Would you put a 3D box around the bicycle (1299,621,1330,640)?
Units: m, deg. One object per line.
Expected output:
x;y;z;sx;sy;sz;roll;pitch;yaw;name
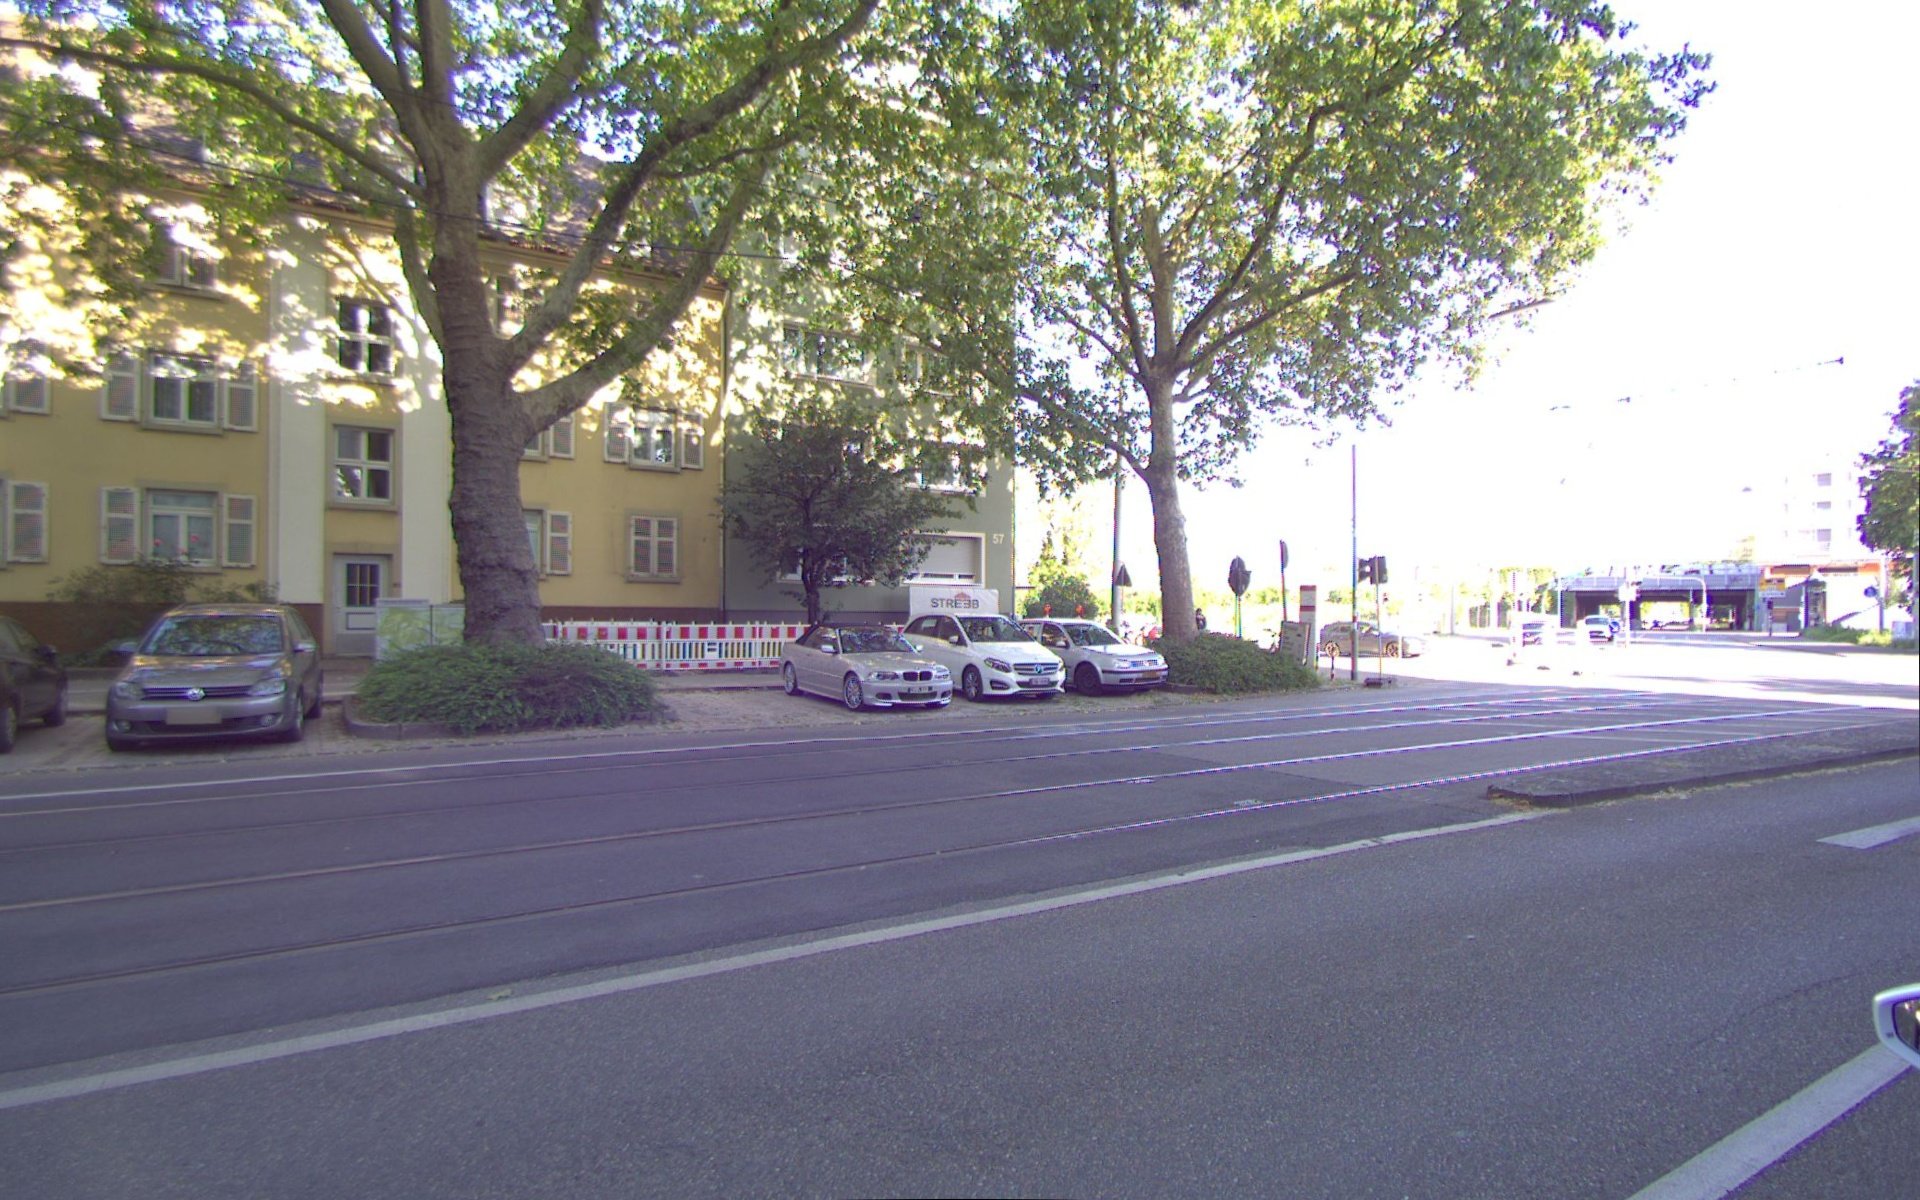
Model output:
19.649;1.698;55.715;1.545;0.995;0.528;0;0;14;bicycle

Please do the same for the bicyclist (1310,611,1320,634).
19.690;1.259;55.716;0.519;1.239;0.528;0;0;14;bicyclist

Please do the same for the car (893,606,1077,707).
0.359;0.980;19.161;1.651;1.669;3.949;1;0;-31;car

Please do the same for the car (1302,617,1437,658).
16.316;1.451;40.199;1.923;1.493;4.688;1;-1;-39;car

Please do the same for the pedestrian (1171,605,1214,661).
7.094;0.993;30.618;0.919;1.669;0.841;2;0;-30;pedestrian

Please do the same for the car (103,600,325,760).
-8.990;0.829;12.423;1.652;1.602;3.953;1;0;-29;car

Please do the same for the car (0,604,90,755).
-11.456;0.829;11.391;1.652;1.518;3.778;1;0;-29;car

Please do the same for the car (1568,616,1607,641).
41.963;1.907;67.159;1.860;1.606;3.823;2;0;37;car

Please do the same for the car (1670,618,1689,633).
83.517;2.986;116.680;1.731;1.706;3.729;2;0;36;car

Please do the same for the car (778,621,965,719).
-1.641;1.106;17.316;1.651;1.370;3.949;1;0;-31;car

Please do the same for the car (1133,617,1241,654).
10.436;1.591;46.306;4.417;1.586;2.016;0;-1;35;car

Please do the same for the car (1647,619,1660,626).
121.939;3.934;176.637;1.555;1.277;3.421;0;-1;30;car

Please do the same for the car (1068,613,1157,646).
7.912;1.509;52.292;4.125;1.572;1.992;2;0;33;car

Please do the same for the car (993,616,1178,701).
2.450;1.108;20.536;1.651;1.473;3.949;1;0;-31;car
